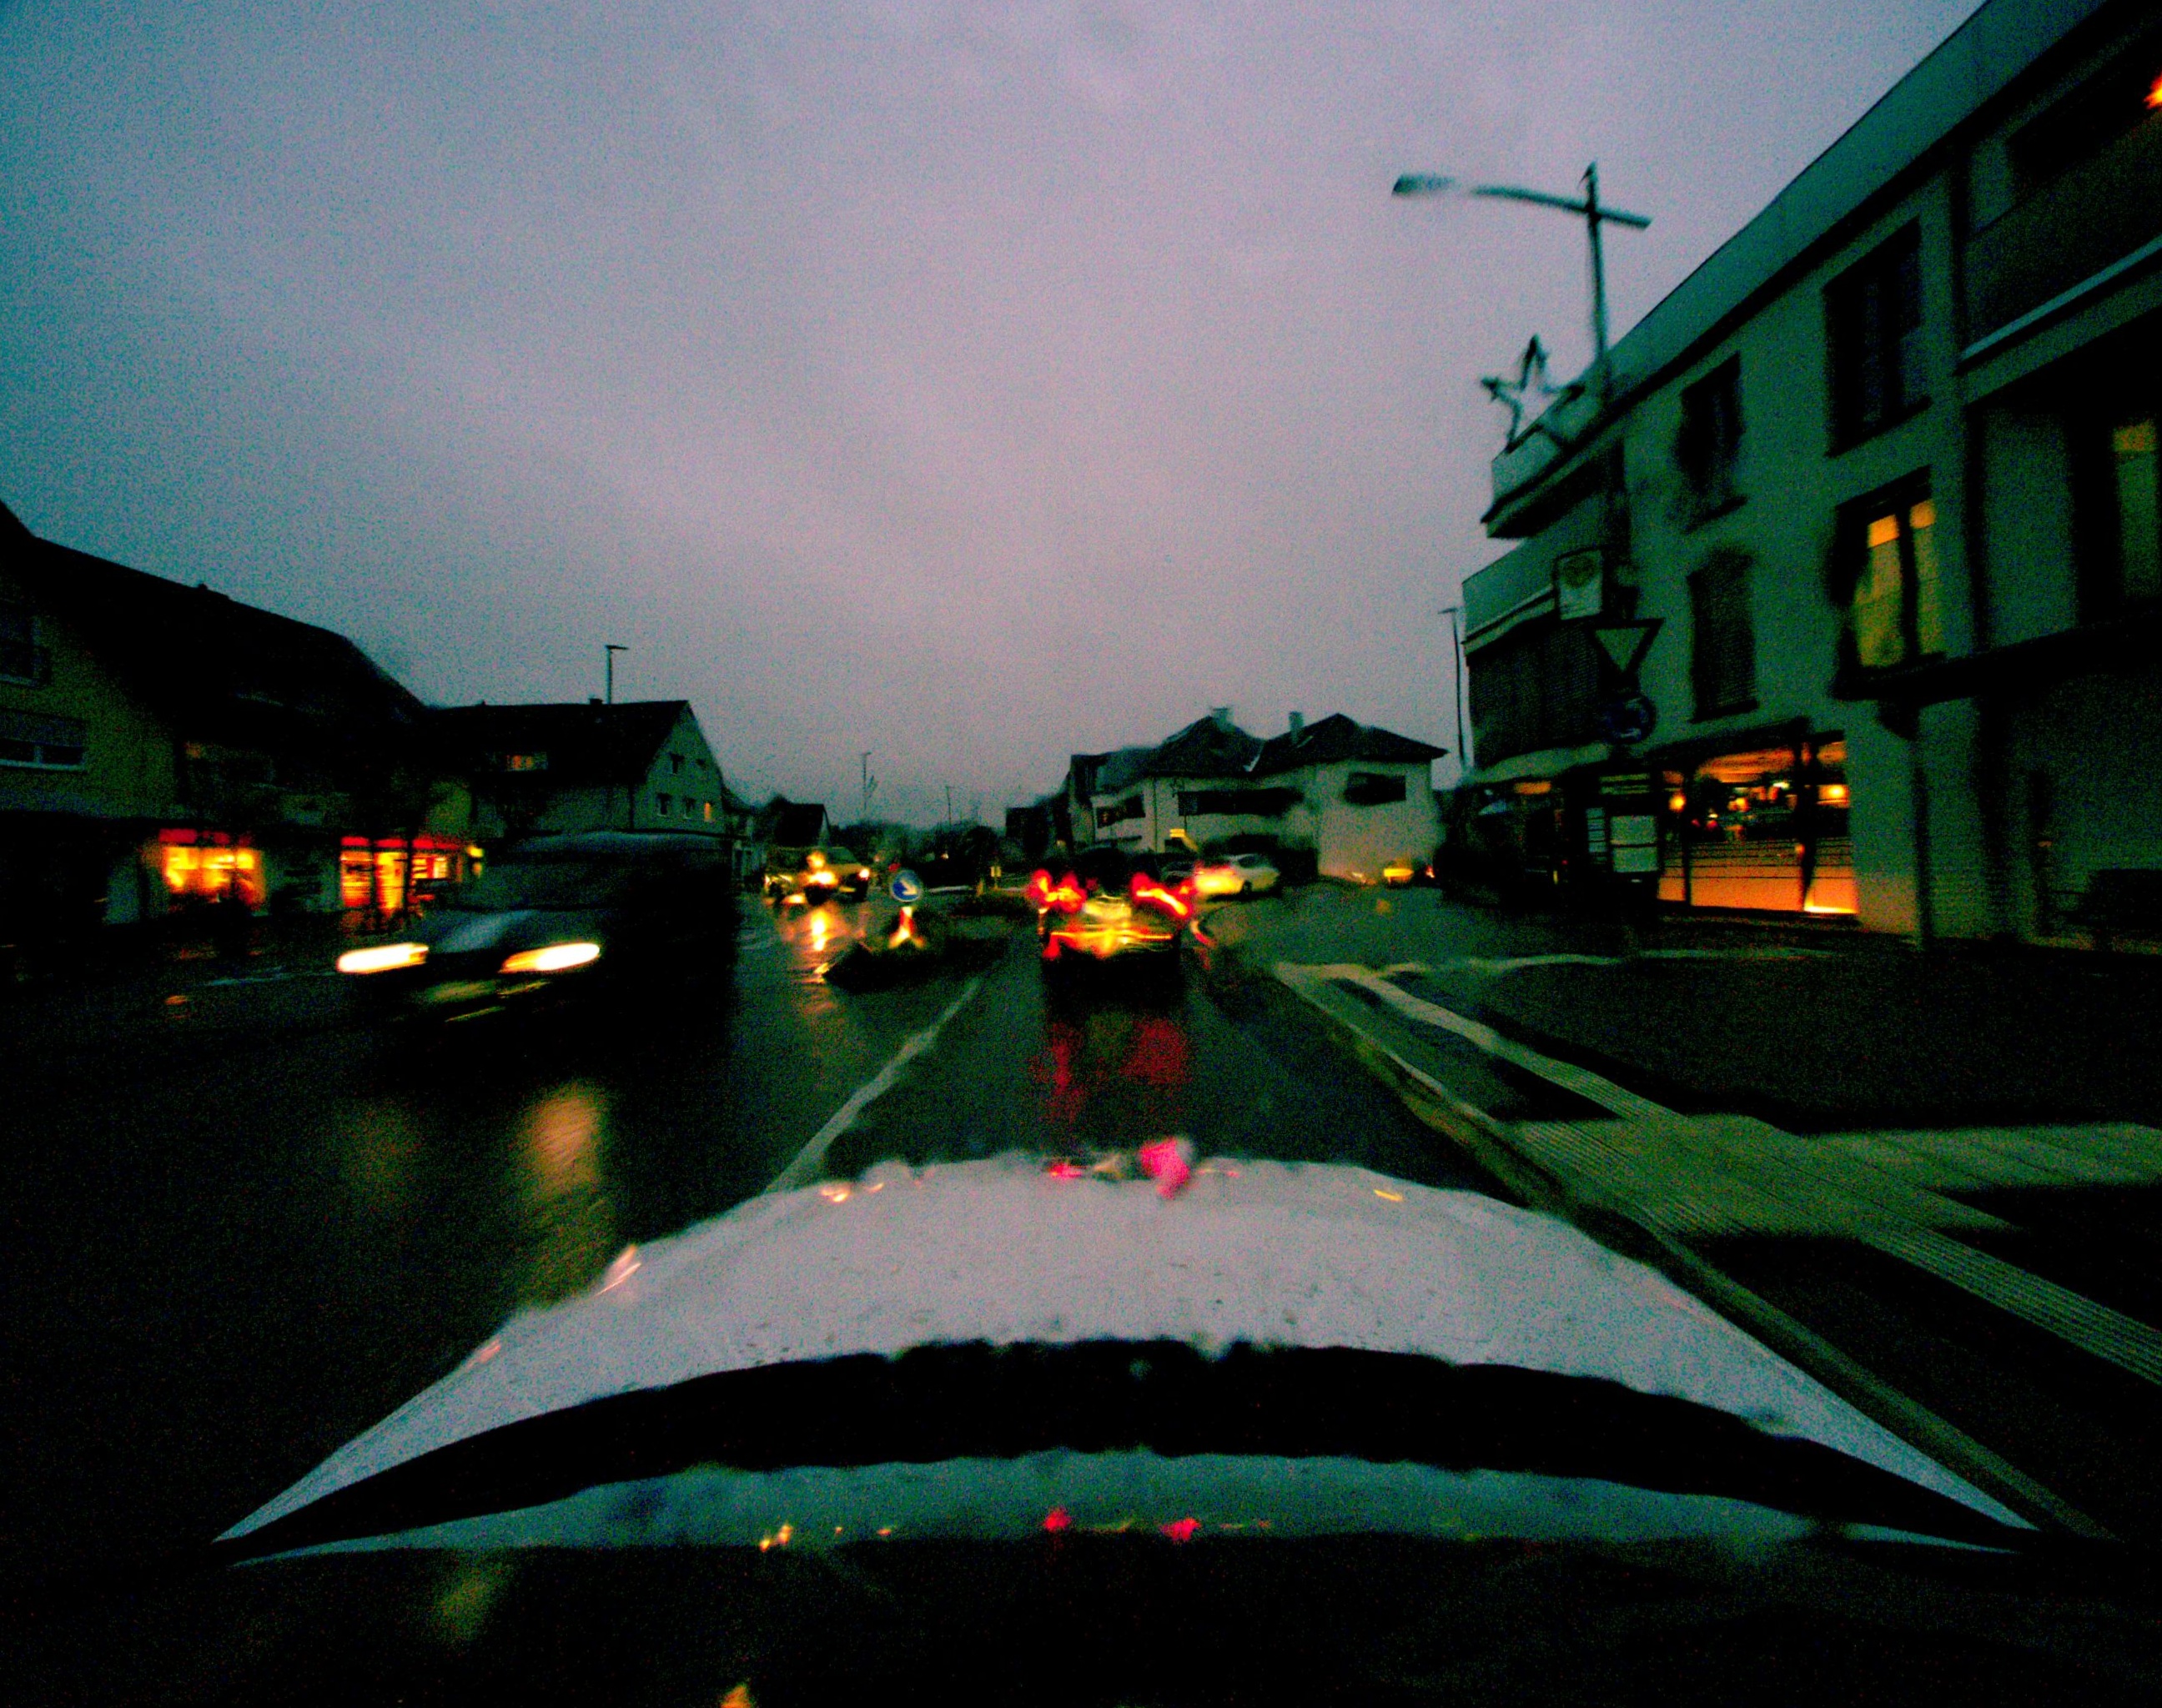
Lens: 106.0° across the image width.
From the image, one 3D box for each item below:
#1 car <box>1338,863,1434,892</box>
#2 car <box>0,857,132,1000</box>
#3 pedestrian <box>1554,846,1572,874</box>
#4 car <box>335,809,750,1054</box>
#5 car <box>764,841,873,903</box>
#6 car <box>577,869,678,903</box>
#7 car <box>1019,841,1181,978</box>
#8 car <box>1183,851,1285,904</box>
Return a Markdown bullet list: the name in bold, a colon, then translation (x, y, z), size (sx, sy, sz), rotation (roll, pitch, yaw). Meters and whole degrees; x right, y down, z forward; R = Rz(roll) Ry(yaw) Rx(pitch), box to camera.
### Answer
- **car**: translation (15.562, 1.210, 41.629), size (4.213, 1.384, 1.847), rotation (0, -3, -5)
- **car**: translation (-13.525, 0.861, 9.824), size (1.923, 1.531, 4.132), rotation (-1, -1, -38)
- **pedestrian**: translation (28.316, 0.359, 47.861), size (0.711, 1.621, 0.584), rotation (-1, 0, 10)
- **car**: translation (-4.889, 0.570, 8.221), size (1.716, 1.813, 4.128), rotation (-1, 0, -6)
- **car**: translation (-9.365, 0.626, 28.839), size (2.010, 2.014, 4.842), rotation (0, -1, -40)
- **car**: translation (-20.822, 1.460, 37.447), size (3.805, 1.422, 1.719), rotation (-2, -3, 9)
- **car**: translation (0.248, 0.667, 11.694), size (1.909, 1.615, 3.950), rotation (-1, 0, 1)
- **car**: translation (4.991, 0.704, 26.208), size (1.760, 1.539, 3.957), rotation (-1, 0, 34)
